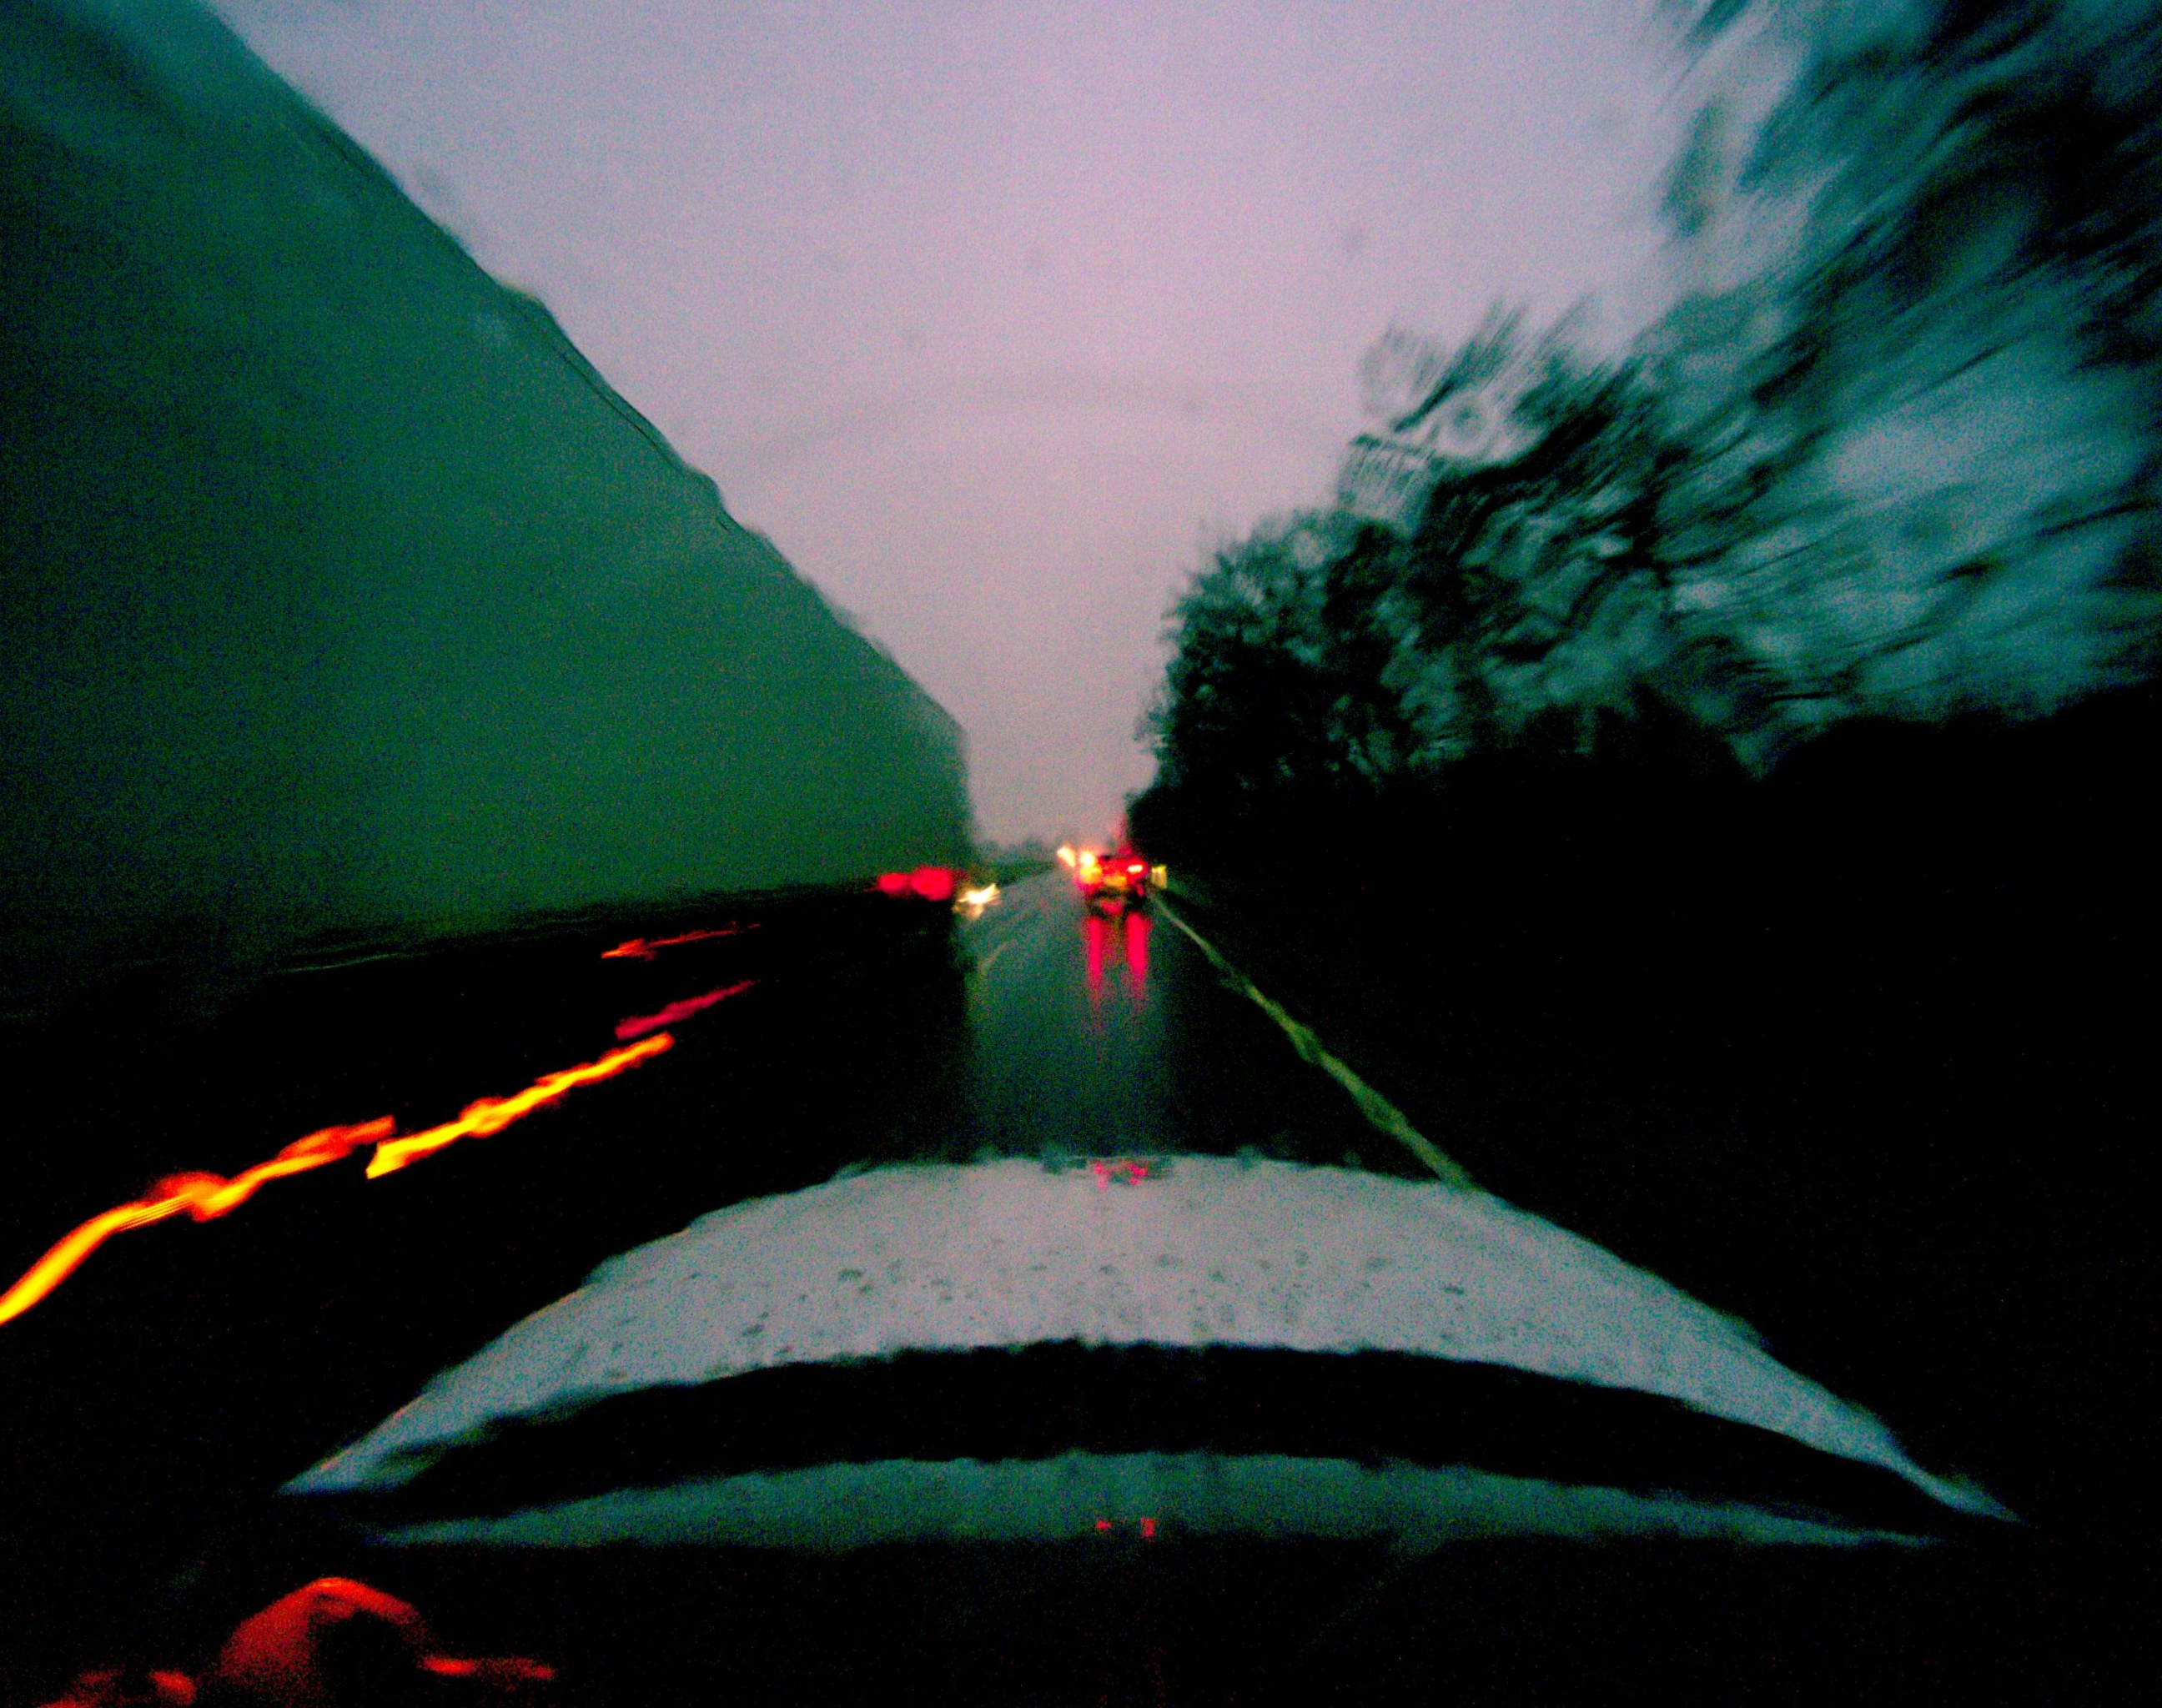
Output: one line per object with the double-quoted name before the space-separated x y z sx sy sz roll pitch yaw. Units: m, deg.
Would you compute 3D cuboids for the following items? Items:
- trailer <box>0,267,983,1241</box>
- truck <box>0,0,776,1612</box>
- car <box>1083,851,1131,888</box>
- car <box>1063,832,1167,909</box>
"trailer" -3.485 -0.436 9.685 2.692 4.080 12.384 -2 0 1
"truck" -3.671 -0.418 2.442 2.715 4.105 6.590 -3 0 1
"car" 1.557 0.853 47.485 2.582 2.014 5.807 -1 0 2
"car" 1.040 0.462 25.116 2.809 2.077 5.807 -1 0 2
